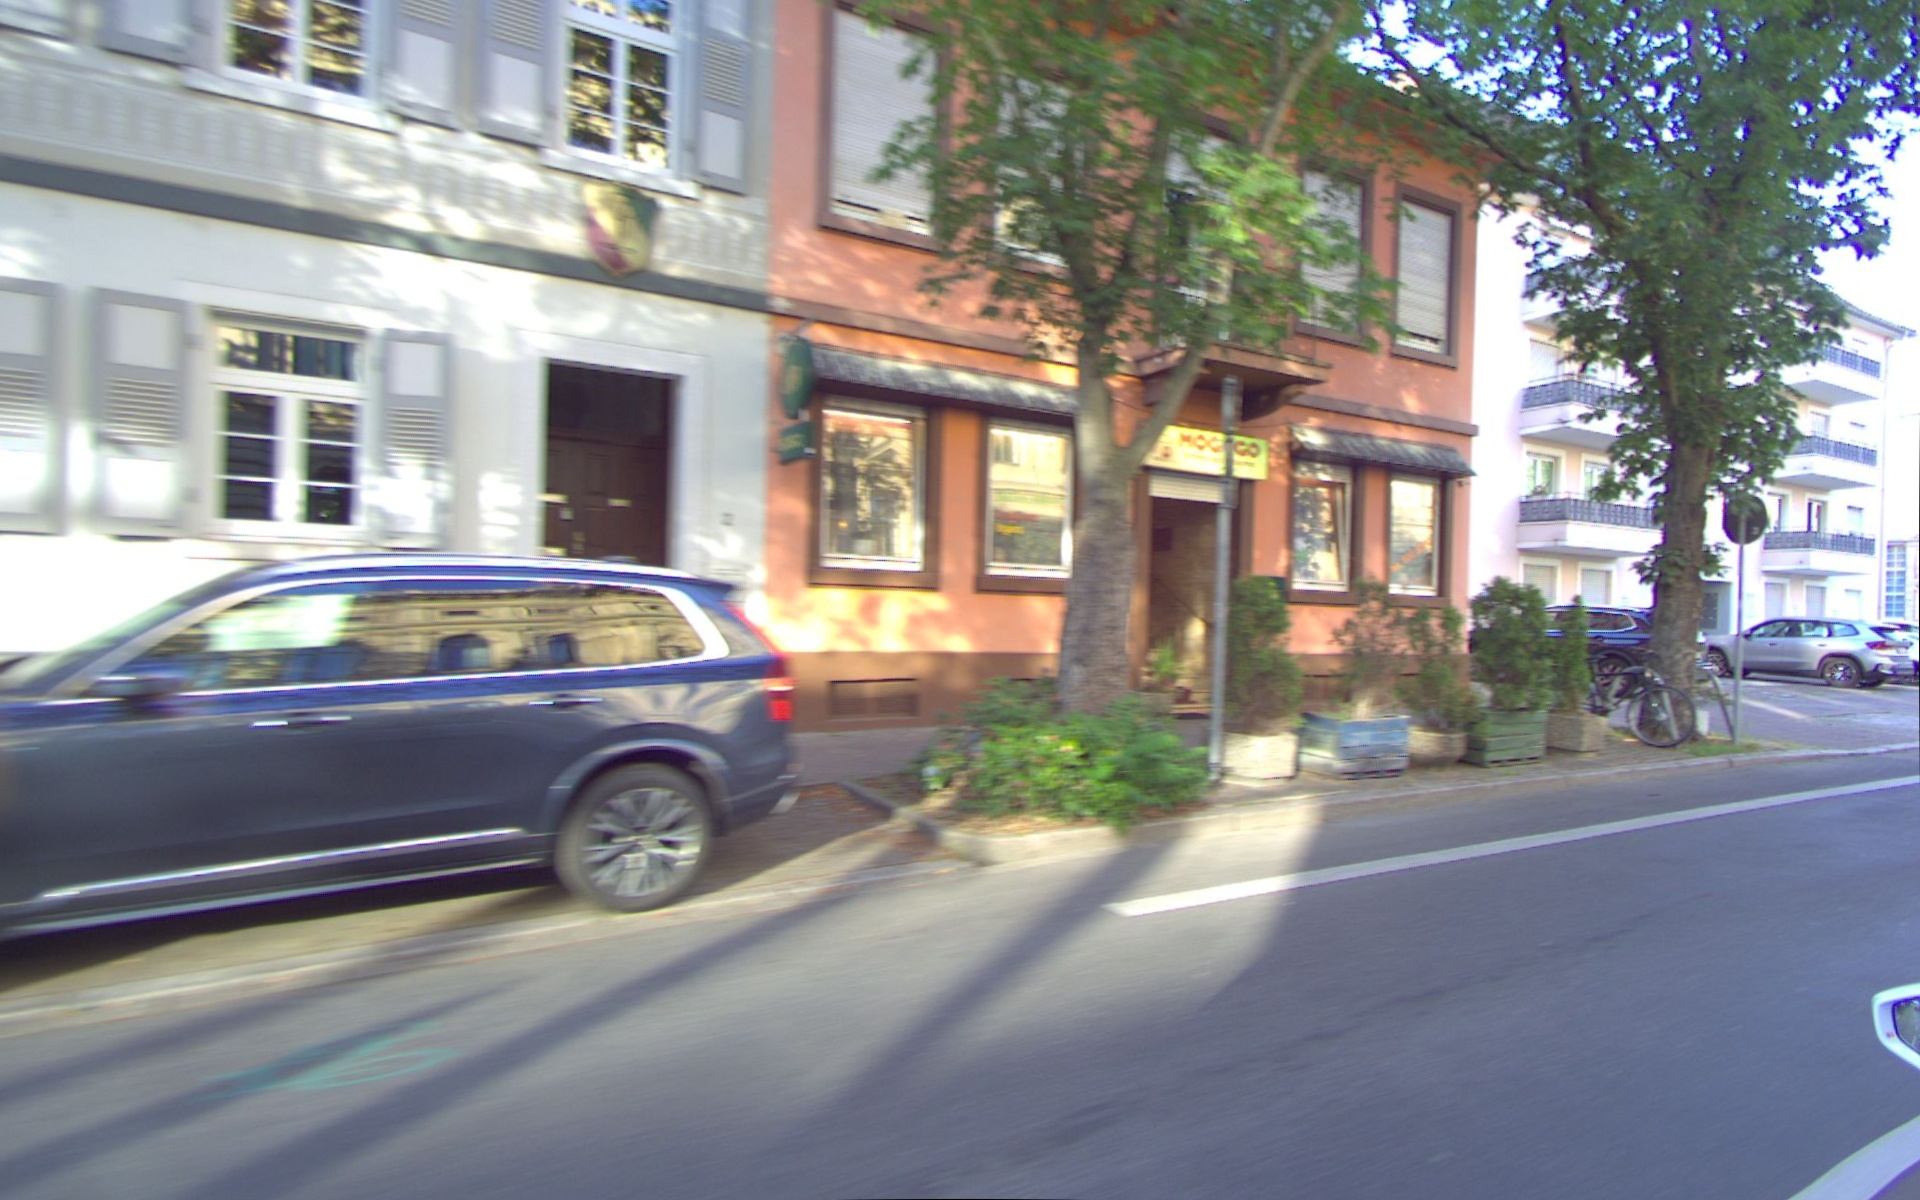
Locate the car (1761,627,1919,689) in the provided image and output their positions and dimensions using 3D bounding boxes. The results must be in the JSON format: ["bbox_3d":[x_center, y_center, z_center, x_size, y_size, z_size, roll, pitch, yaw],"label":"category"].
[{"bbox_3d":[24.516,1.533,27.047,1.715,1.399,4.246,1,1,-29],"label":"car"}]

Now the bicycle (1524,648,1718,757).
[{"bbox_3d":[7.901,1.183,12.099,0.604,1.119,1.854,1,0,-34],"label":"bicycle"}]

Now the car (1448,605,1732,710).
[{"bbox_3d":[12.284,1.031,19.902,1.842,1.687,4.397,1,1,-29],"label":"car"}]

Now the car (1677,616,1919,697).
[{"bbox_3d":[20.727,1.310,24.904,1.893,1.627,4.397,1,1,-29],"label":"car"}]

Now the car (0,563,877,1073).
[{"bbox_3d":[-3.060,0.805,5.031,4.999,1.783,1.815,2,3,-35],"label":"car"}]

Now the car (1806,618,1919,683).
[{"bbox_3d":[26.837,1.430,28.112,1.919,1.663,4.419,1,1,-29],"label":"car"}]
